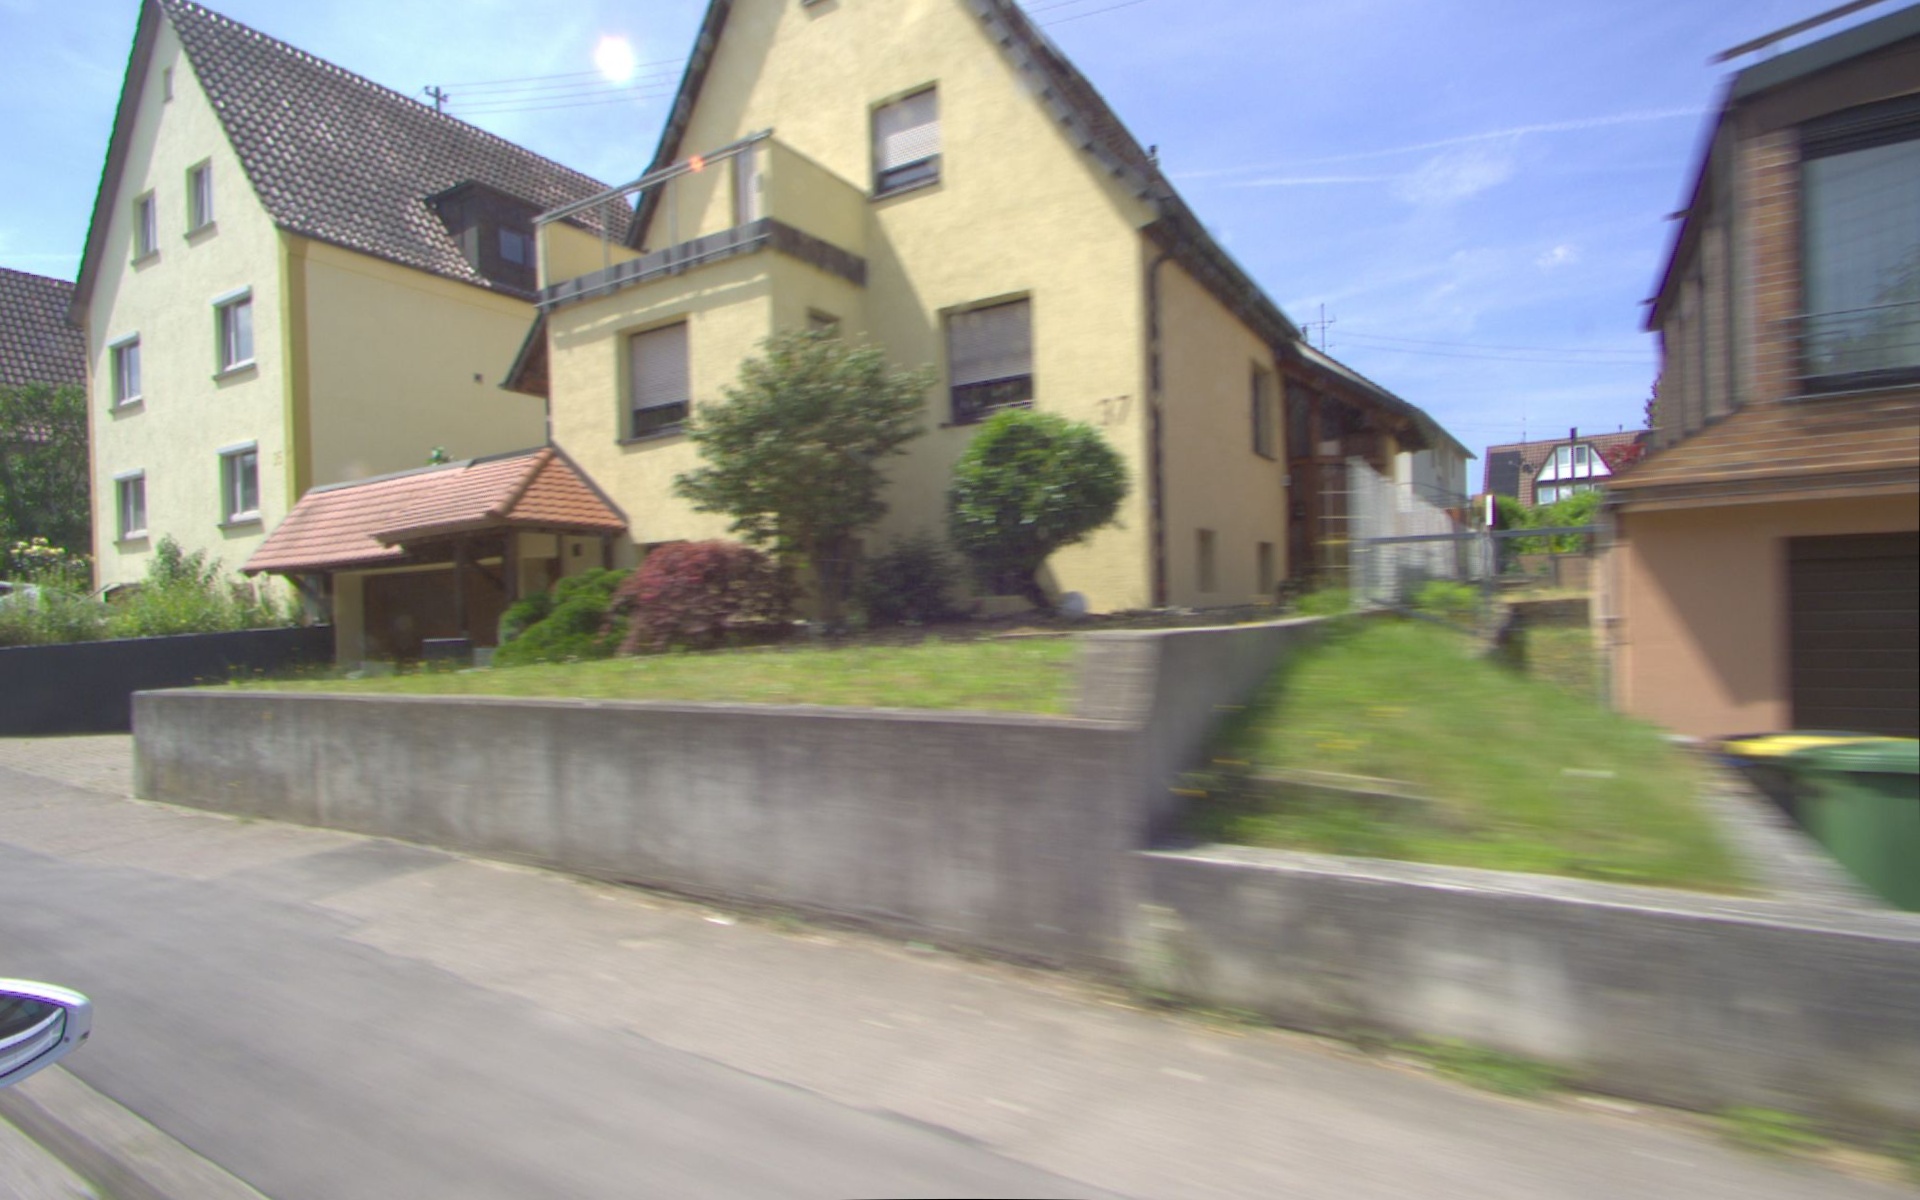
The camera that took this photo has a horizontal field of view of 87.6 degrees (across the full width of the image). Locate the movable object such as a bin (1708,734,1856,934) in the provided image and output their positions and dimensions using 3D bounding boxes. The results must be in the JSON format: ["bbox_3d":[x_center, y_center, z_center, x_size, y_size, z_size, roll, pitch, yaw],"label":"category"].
[{"bbox_3d":[4.499,1.248,5.516,0.555,0.963,0.527,0,-3,32],"label":"movable object such as a bin"}]

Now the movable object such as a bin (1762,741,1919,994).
[{"bbox_3d":[4.011,1.163,4.504,0.555,1.001,0.528,0,-5,32],"label":"movable object such as a bin"}]

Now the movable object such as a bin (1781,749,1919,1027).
[{"bbox_3d":[3.696,1.120,4.010,0.555,1.001,0.528,0,-6,32],"label":"movable object such as a bin"}]

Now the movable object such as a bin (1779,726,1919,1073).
[{"bbox_3d":[3.361,1.012,3.473,0.723,1.091,0.583,0,-4,32],"label":"movable object such as a bin"}]

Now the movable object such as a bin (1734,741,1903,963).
[{"bbox_3d":[4.256,1.213,5.003,0.555,0.962,0.528,0,-5,32],"label":"movable object such as a bin"}]
